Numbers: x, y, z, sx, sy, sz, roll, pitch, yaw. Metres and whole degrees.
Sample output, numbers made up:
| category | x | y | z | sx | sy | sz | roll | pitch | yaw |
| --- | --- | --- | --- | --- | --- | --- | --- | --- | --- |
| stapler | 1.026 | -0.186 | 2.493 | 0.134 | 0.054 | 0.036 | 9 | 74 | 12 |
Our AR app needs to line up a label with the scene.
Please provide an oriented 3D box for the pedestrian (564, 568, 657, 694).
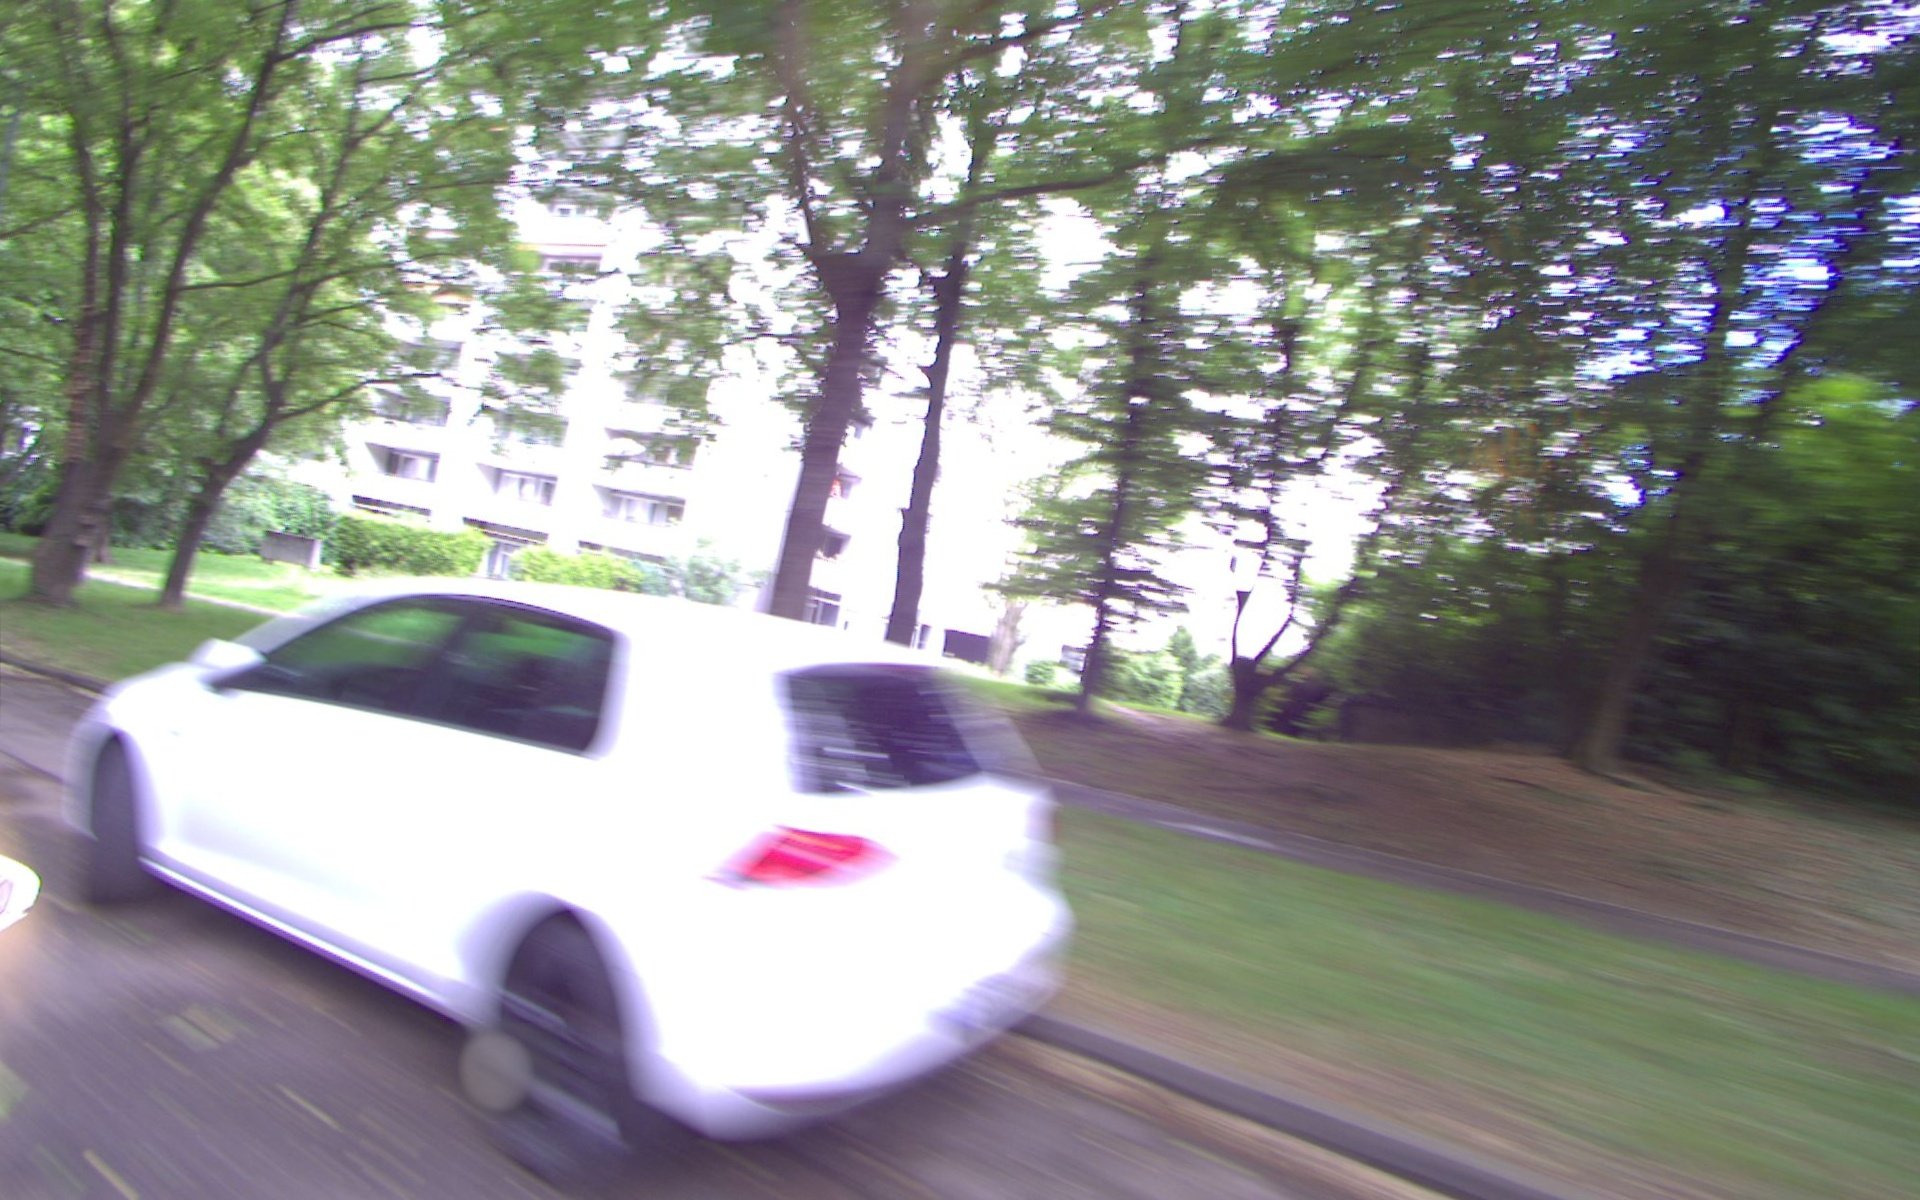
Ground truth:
| category | x | y | z | sx | sy | sz | roll | pitch | yaw |
| --- | --- | --- | --- | --- | --- | --- | --- | --- | --- |
| pedestrian | -4.986 | 0.451 | 14.372 | 0.856 | 1.670 | 0.583 | 8 | -1 | 19 |

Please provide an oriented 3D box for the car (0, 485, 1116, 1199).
| category | x | y | z | sx | sy | sz | roll | pitch | yaw |
| --- | --- | --- | --- | --- | --- | --- | --- | --- | --- |
| car | -1.696 | 0.601 | 3.790 | 4.035 | 1.499 | 1.694 | 7 | -2 | 29 |
